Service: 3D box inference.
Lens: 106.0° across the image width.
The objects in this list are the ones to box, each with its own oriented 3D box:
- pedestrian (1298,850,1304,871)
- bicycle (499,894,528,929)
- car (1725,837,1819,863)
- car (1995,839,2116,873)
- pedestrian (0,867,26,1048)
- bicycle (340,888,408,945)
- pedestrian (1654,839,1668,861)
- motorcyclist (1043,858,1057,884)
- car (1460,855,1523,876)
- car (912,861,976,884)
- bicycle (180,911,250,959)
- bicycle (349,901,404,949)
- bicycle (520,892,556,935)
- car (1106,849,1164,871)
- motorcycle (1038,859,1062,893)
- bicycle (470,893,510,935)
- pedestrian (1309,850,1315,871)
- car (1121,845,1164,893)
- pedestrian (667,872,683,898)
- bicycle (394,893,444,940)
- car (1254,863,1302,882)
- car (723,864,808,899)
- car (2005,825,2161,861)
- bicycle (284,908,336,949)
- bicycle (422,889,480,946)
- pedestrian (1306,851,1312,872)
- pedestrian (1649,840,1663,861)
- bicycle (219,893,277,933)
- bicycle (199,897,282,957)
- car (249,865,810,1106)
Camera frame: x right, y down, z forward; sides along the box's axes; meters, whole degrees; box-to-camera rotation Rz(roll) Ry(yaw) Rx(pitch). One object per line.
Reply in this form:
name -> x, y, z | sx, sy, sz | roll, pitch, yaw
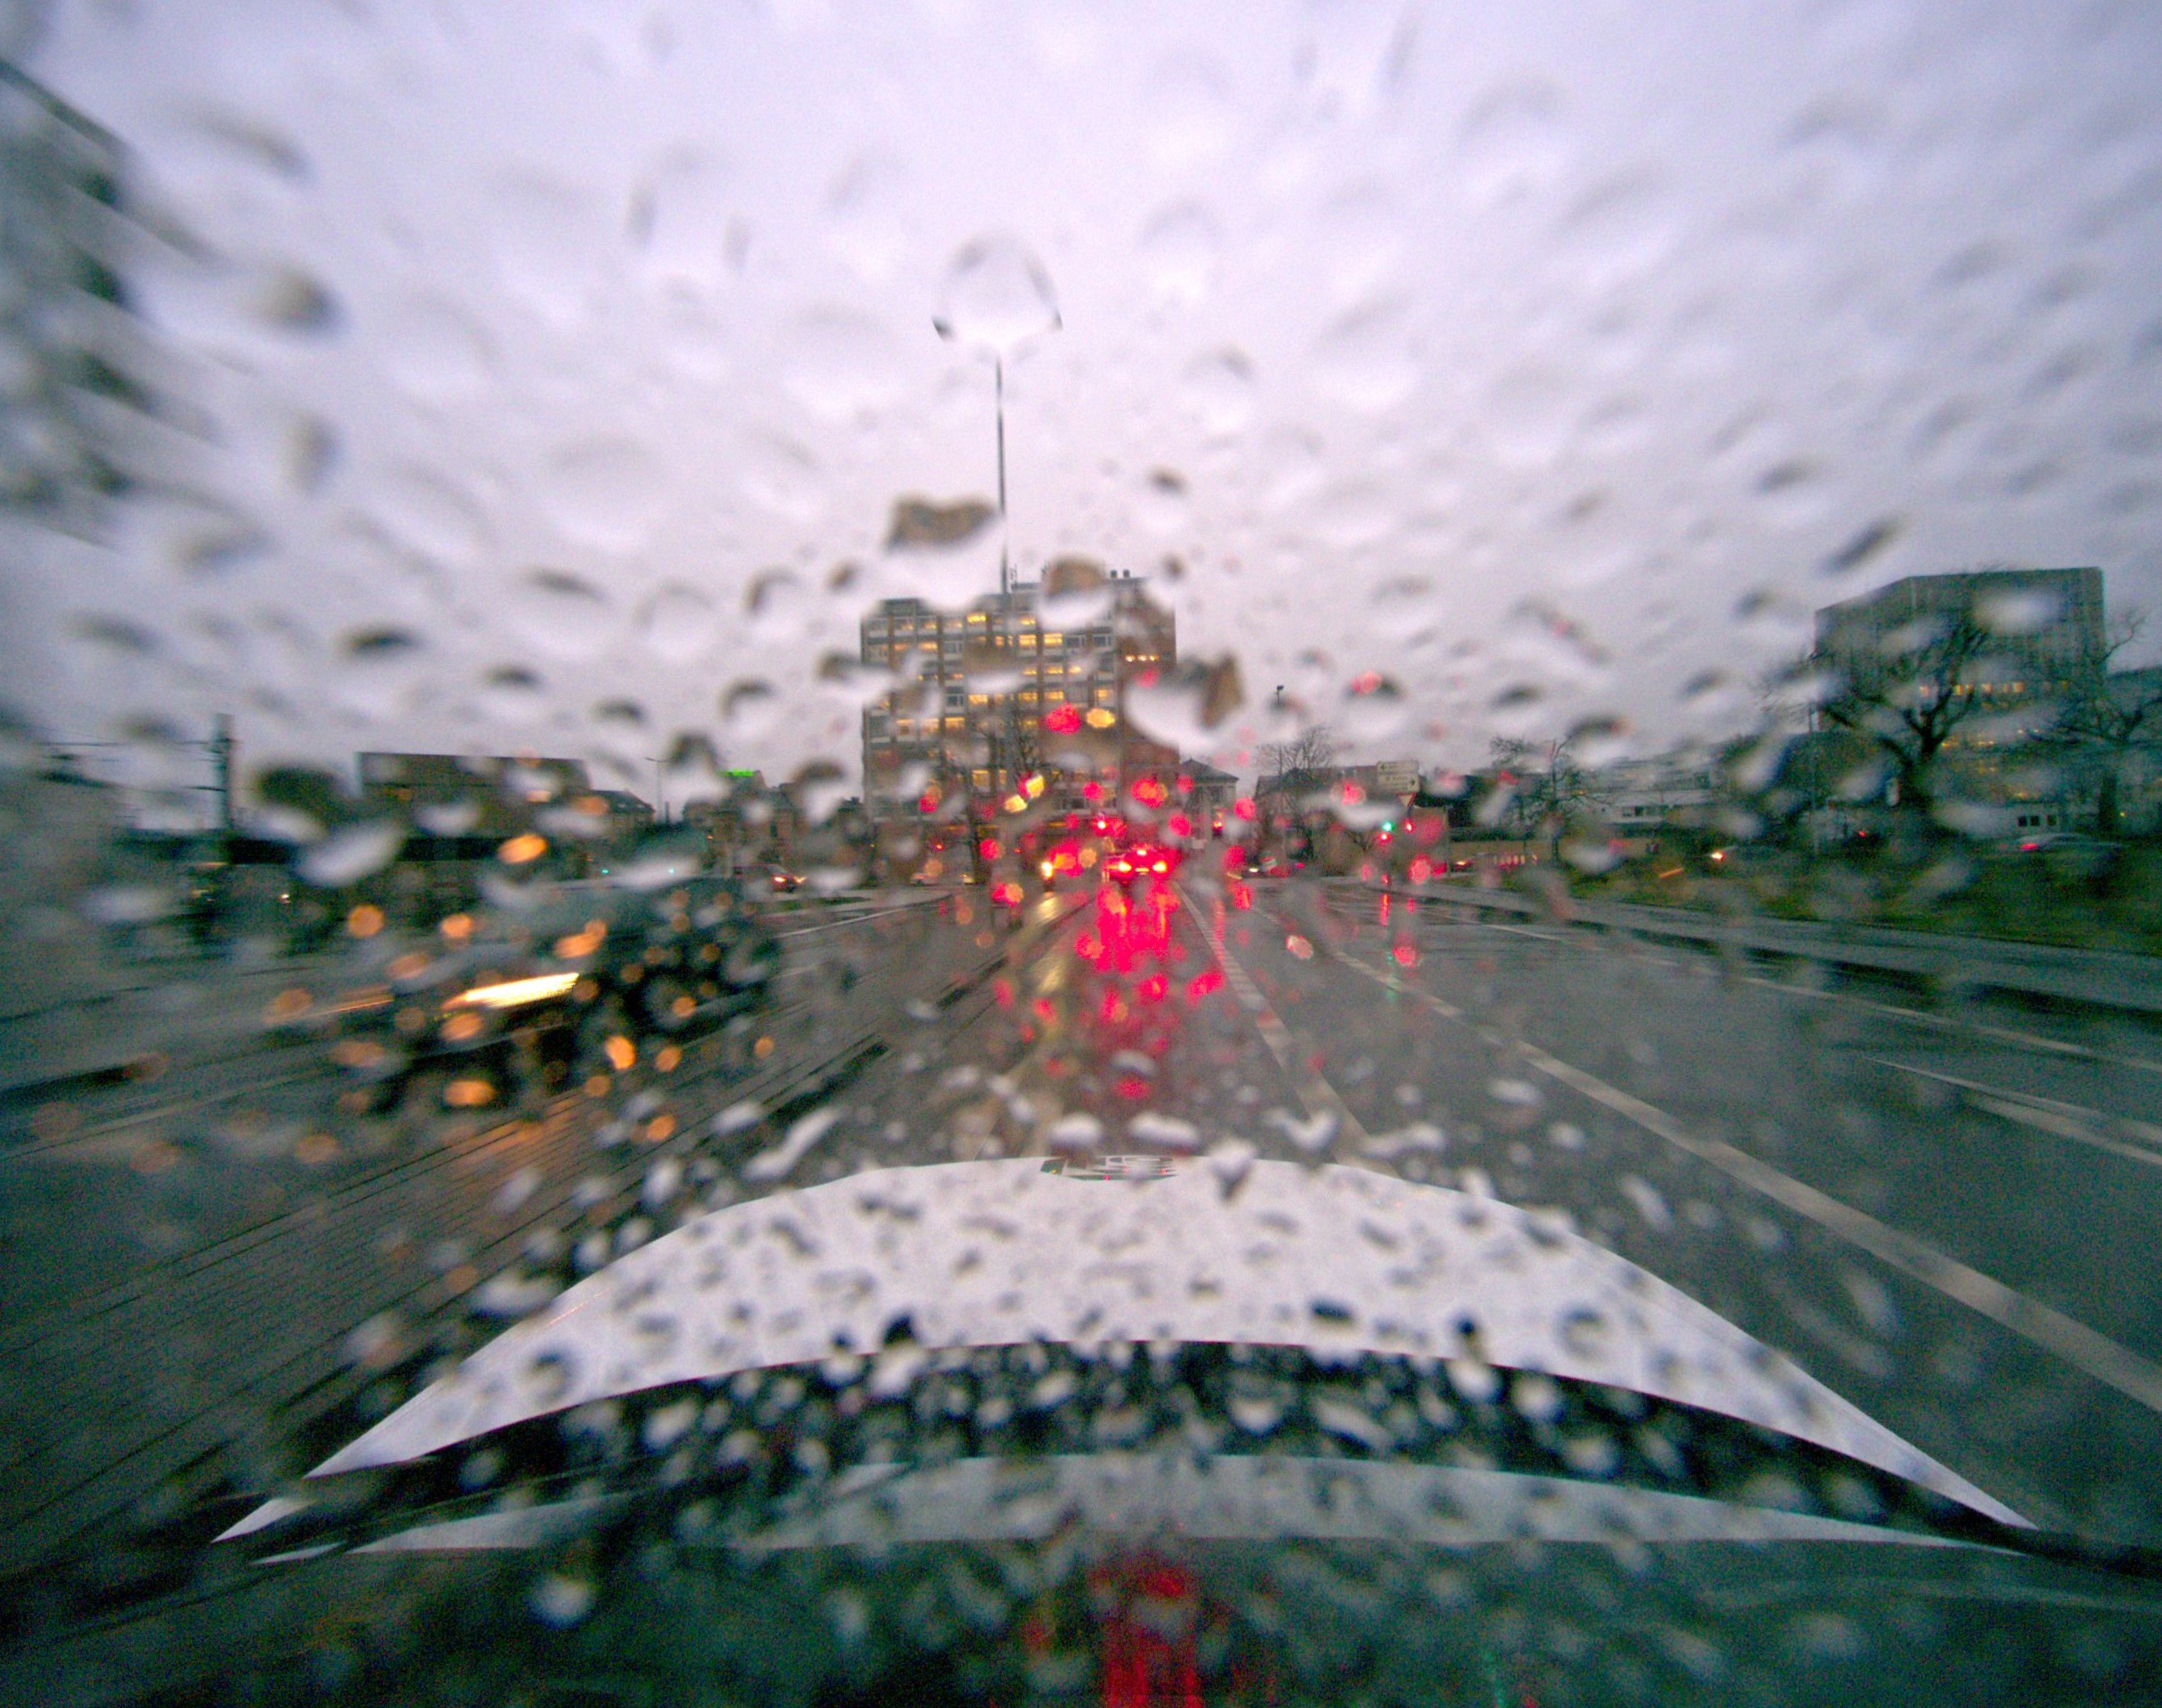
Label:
pedestrian -> 19.159, 0.546, 70.837 | 0.433, 1.839, 0.462 | -1, -3, 23
bicycle -> -19.700, 1.982, 28.286 | 0.551, 1.165, 1.882 | 1, -2, -27
car -> 46.557, -0.252, 54.999 | 4.397, 1.580, 1.977 | -1, -2, 18
car -> 49.803, 0.122, 41.692 | 3.611, 1.651, 1.894 | 0, -2, 9
pedestrian -> -10.344, 0.950, 7.338 | 0.669, 1.674, 0.732 | 0, -2, 9
bicycle -> -15.230, 1.316, 17.593 | 0.551, 1.165, 1.883 | 1, -2, -24
pedestrian -> 46.598, -0.294, 65.441 | 0.619, 1.725, 0.762 | 0, -2, 12
motorcyclist -> -1.415, 0.781, 37.144 | 0.533, 1.193, 0.611 | 0, -2, 4
car -> 29.349, 0.837, 58.285 | 3.763, 1.398, 1.570 | 0, -2, 13
car -> -11.783, 1.624, 70.145 | 5.111, 1.913, 2.009 | -1, -1, 20
bicycle -> -22.999, 2.121, 21.670 | 0.551, 1.165, 1.883 | 1, -2, -24
bicycle -> -18.632, 1.857, 21.579 | 0.551, 1.165, 1.883 | 1, -2, -24
bicycle -> -15.844, 1.718, 23.796 | 0.551, 1.165, 1.883 | 1, -2, -24
car -> 5.347, 0.621, 80.972 | 5.511, 2.025, 2.006 | 0, -2, 11
motorcycle -> -1.405, 0.972, 37.200 | 0.825, 1.497, 2.316 | -2, -1, 4
bicycle -> -17.285, 1.727, 23.851 | 0.551, 1.165, 1.883 | 1, -2, -24
pedestrian -> 20.063, 0.568, 70.639 | 0.433, 1.839, 0.462 | -1, -3, 23
car -> 2.553, 0.578, 33.319 | 1.639, 1.819, 4.006 | 0, 0, 5
pedestrian -> -27.290, 2.080, 54.753 | 0.456, 1.697, 0.801 | -1, -3, 28
bicycle -> -17.749, 1.648, 21.862 | 0.551, 1.165, 1.883 | 1, -2, -24
car -> 14.914, 1.441, 61.571 | 3.382, 1.398, 1.476 | -1, -2, 20
car -> -21.021, 1.831, 54.289 | 4.978, 2.282, 2.270 | -1, -2, 21
car -> 30.155, -0.317, 24.600 | 2.648, 0.977, 1.310 | -2, 0, 30
bicycle -> -24.038, 2.300, 25.433 | 0.551, 1.165, 1.883 | 1, -2, -24
bicycle -> -13.768, 1.350, 17.841 | 0.551, 1.165, 1.926 | 1, -2, -24
pedestrian -> 19.597, 0.635, 69.921 | 0.454, 1.839, 0.441 | -1, -3, 22
pedestrian -> 46.788, -0.292, 66.278 | 0.619, 1.725, 0.762 | 0, -2, 12
bicycle -> -25.465, 1.786, 24.932 | 0.551, 1.165, 1.883 | 1, -2, -24
bicycle -> -17.896, 1.527, 17.389 | 0.551, 1.165, 1.883 | 1, -2, -24
car -> -4.208, 0.862, 7.291 | 1.739, 1.378, 4.372 | -3, 0, 5
